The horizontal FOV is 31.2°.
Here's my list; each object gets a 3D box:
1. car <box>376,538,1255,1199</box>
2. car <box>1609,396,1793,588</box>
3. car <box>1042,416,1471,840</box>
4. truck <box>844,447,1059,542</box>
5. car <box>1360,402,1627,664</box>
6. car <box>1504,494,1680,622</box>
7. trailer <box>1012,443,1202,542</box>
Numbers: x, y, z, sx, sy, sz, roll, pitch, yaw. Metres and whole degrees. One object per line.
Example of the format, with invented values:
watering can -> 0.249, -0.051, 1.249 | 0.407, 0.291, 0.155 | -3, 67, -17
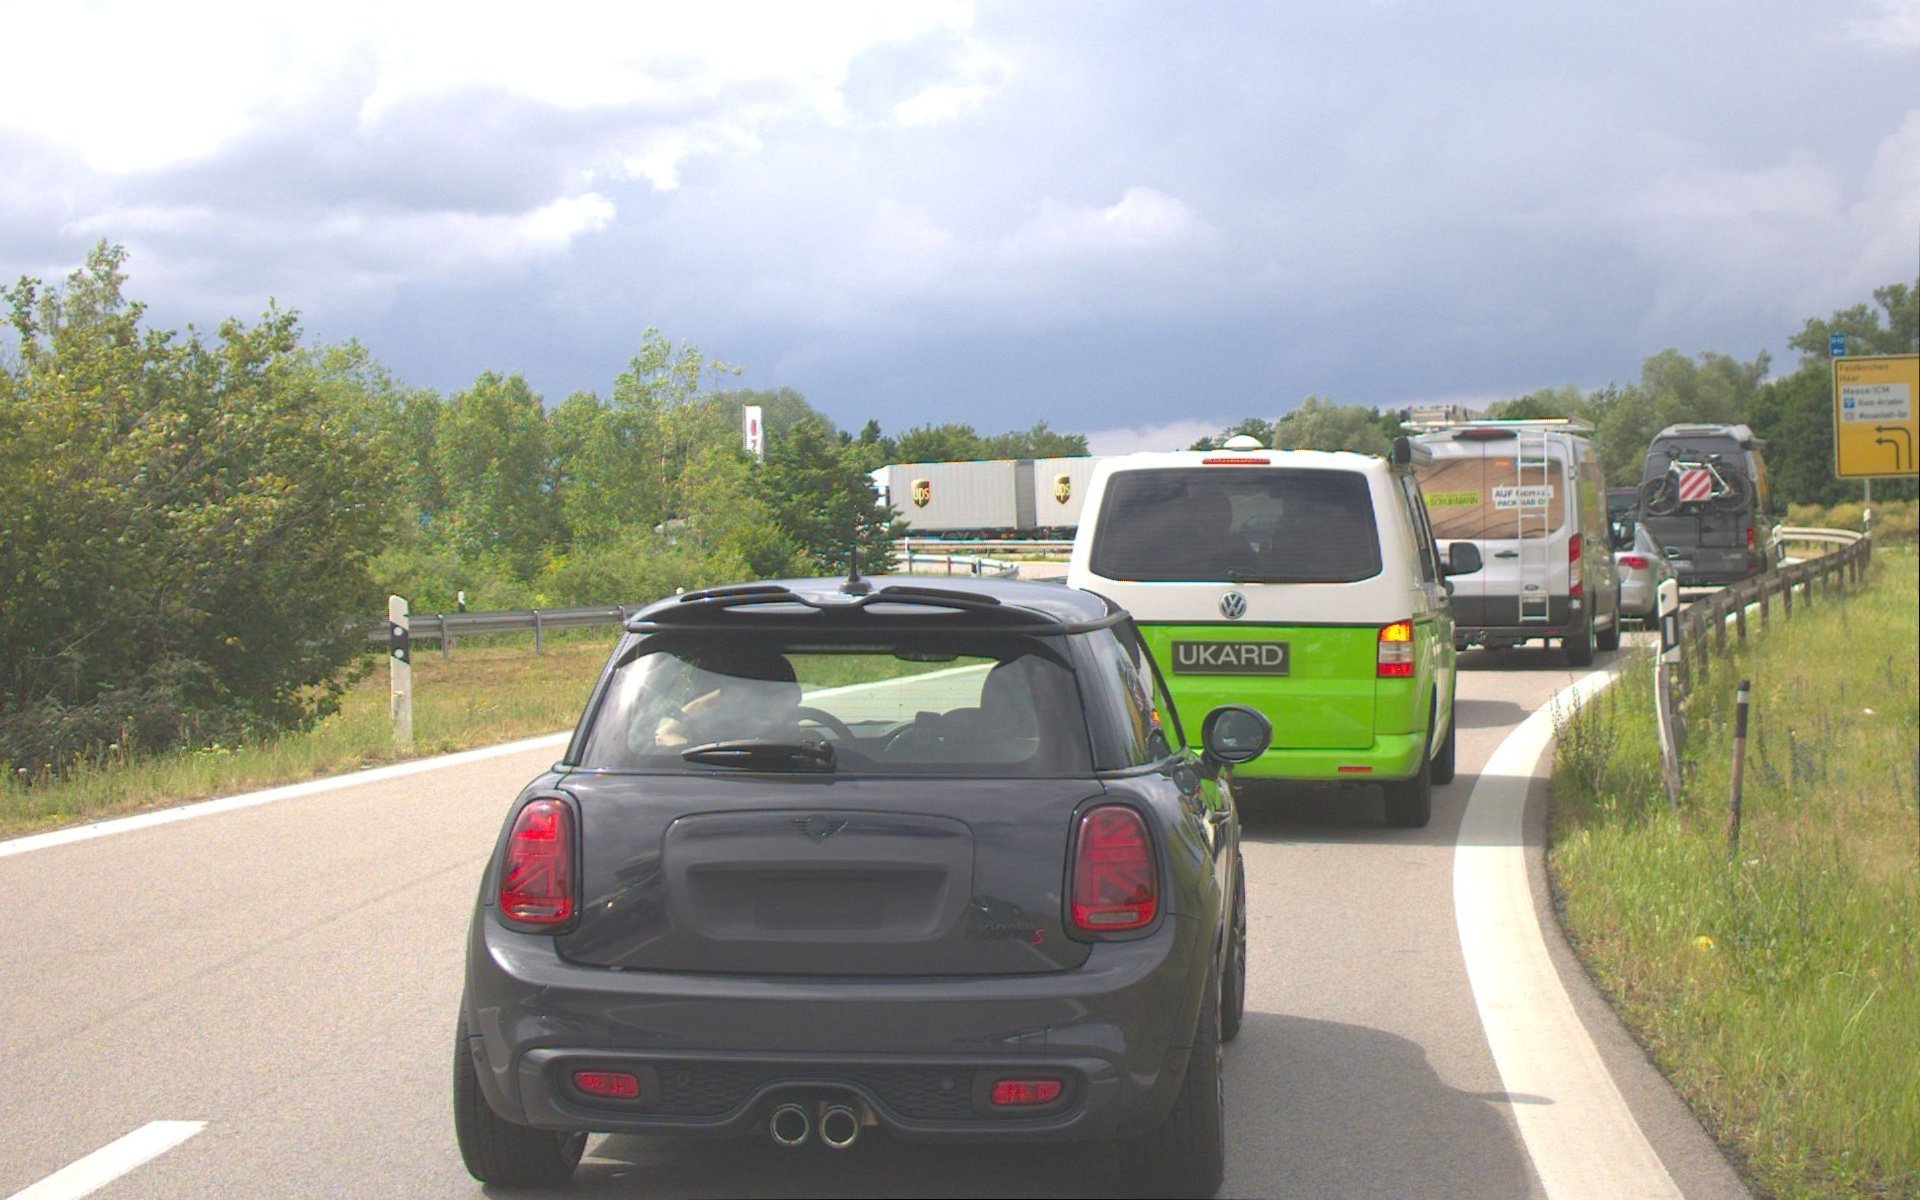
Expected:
car -> -0.154, 0.619, 8.990 | 1.800, 1.541, 3.738 | 0, 1, 5
car -> 12.668, -1.763, 58.437 | 2.313, 3.058, 6.656 | 1, 1, 18
car -> 1.731, 0.099, 18.737 | 1.912, 2.038, 4.179 | 0, 1, 11
truck -> -0.445, -4.523, 148.608 | 10.023, 3.962, 2.838 | 1, 1, 43
car -> 5.877, -0.704, 37.288 | 2.213, 2.613, 5.530 | 1, 1, 15
car -> 8.566, -0.562, 46.388 | 1.995, 1.636, 3.926 | 1, 1, 15
trailer -> 5.994, -4.374, 141.772 | 3.036, 3.884, 8.771 | 0, 1, -36
